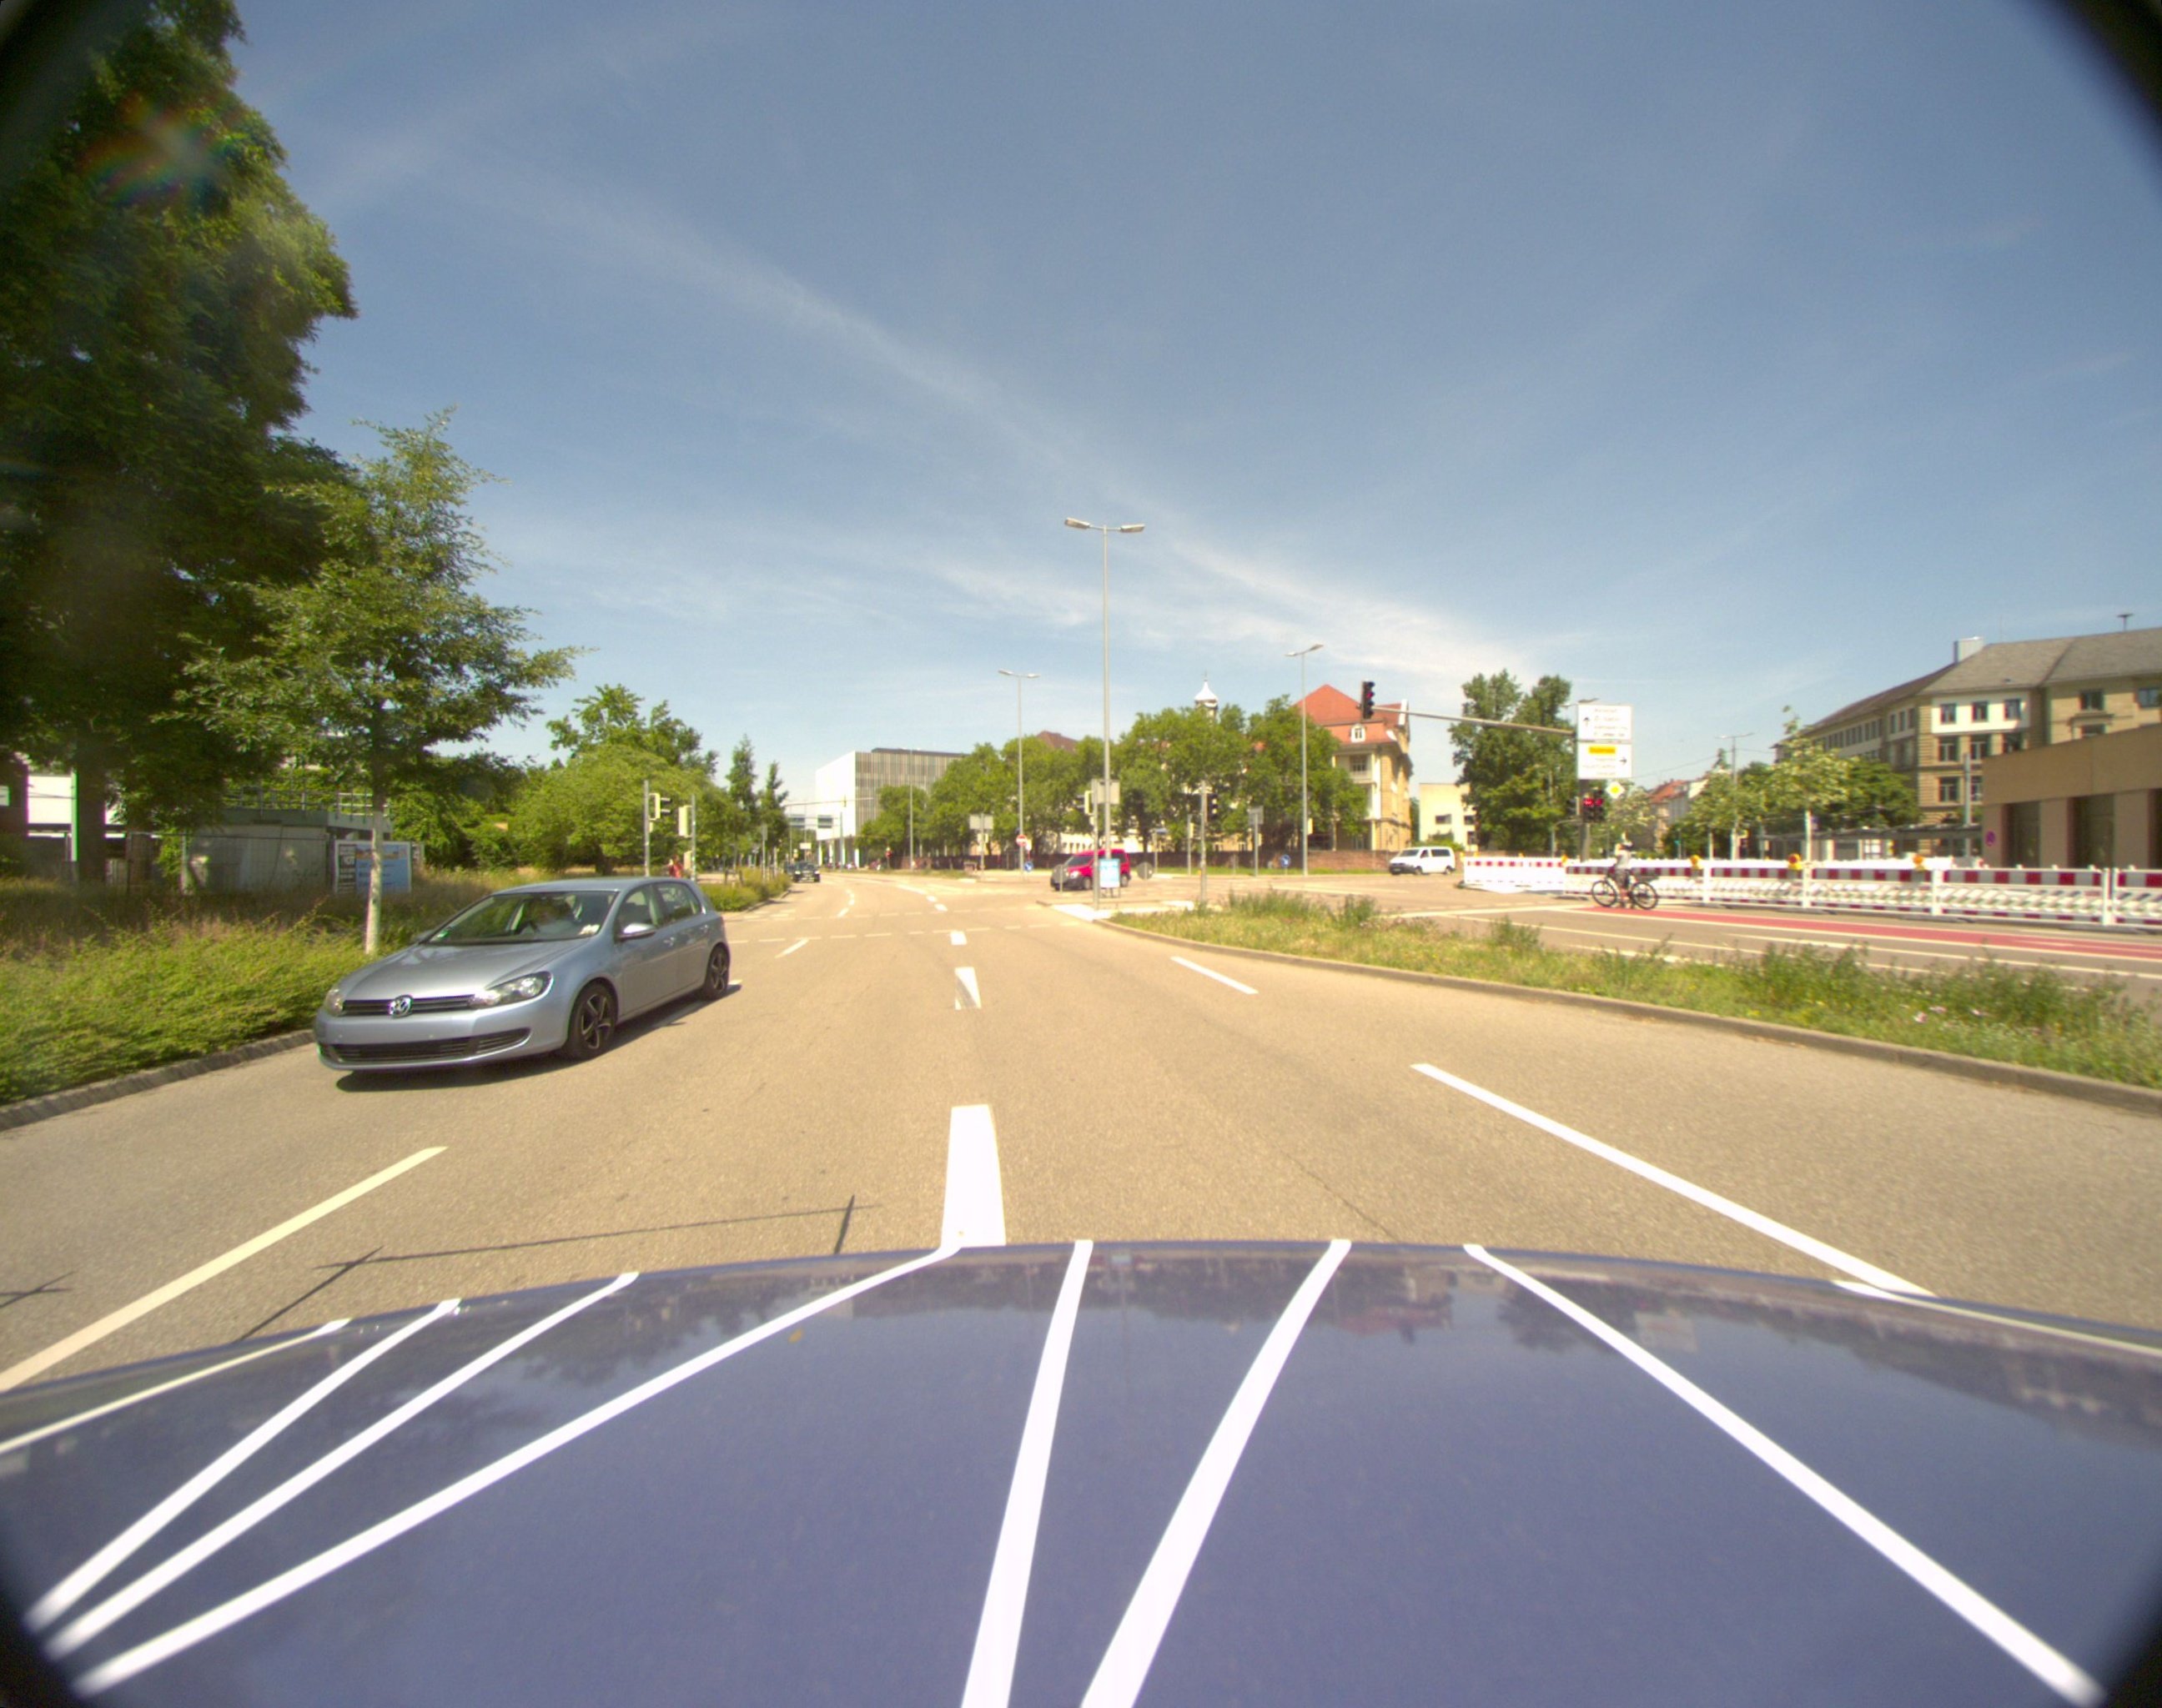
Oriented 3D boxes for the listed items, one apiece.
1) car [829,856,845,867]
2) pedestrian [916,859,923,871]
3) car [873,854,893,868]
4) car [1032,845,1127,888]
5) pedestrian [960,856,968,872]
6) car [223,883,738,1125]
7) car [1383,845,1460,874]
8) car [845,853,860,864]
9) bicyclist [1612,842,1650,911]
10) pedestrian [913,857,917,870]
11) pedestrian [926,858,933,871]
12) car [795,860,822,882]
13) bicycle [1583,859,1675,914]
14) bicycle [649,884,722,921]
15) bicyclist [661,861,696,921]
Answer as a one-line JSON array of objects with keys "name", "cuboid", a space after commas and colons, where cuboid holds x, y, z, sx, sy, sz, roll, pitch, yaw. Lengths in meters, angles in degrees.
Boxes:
[{"name": "car", "cuboid": [-38.987, 1.216, 121.361, 1.781, 1.658, 3.993, -1, -2, -27]}, {"name": "pedestrian", "cuboid": [-25.806, 1.756, 121.472, 0.790, 2.001, 0.962, -1, -2, -28]}, {"name": "car", "cuboid": [-30.334, 1.140, 116.249, 2.003, 2.001, 4.206, -1, -2, -28]}, {"name": "car", "cuboid": [0.010, 0.579, 33.996, 1.829, 1.755, 4.289, -3, -3, 41]}, {"name": "pedestrian", "cuboid": [-17.674, 1.521, 114.641, 0.851, 2.276, 1.073, 0, -2, -35]}, {"name": "car", "cuboid": [-4.914, 1.074, 7.107, 1.833, 1.406, 3.992, -1, 0, -5]}, {"name": "car", "cuboid": [22.319, 0.346, 49.804, 5.039, 1.784, 1.928, -1, 0, -29]}, {"name": "car", "cuboid": [-36.822, 0.723, 122.397, 1.784, 1.673, 3.993, -1, -2, -25]}, {"name": "bicyclist", "cuboid": [12.801, 0.516, 17.691, 0.531, 1.570, 0.498, -1, 1, -12]}, {"name": "pedestrian", "cuboid": [-26.397, 1.513, 120.847, 0.550, 2.001, 0.535, -1, -2, -28]}, {"name": "pedestrian", "cuboid": [-24.401, 1.704, 122.201, 0.790, 2.001, 0.838, -1, -2, -28]}, {"name": "car", "cuboid": [-21.299, 1.320, 59.353, 1.711, 1.576, 4.549, -1, -2, -23]}, {"name": "bicycle", "cuboid": [12.789, 0.725, 17.795, 0.524, 1.174, 1.896, -1, 1, -12]}, {"name": "bicycle", "cuboid": [-11.493, 1.407, 22.089, 1.993, 1.039, 0.559, -2, -1, 13]}, {"name": "bicyclist", "cuboid": [-11.732, 1.070, 22.159, 0.702, 1.705, 0.552, 0, -1, 12]}]
